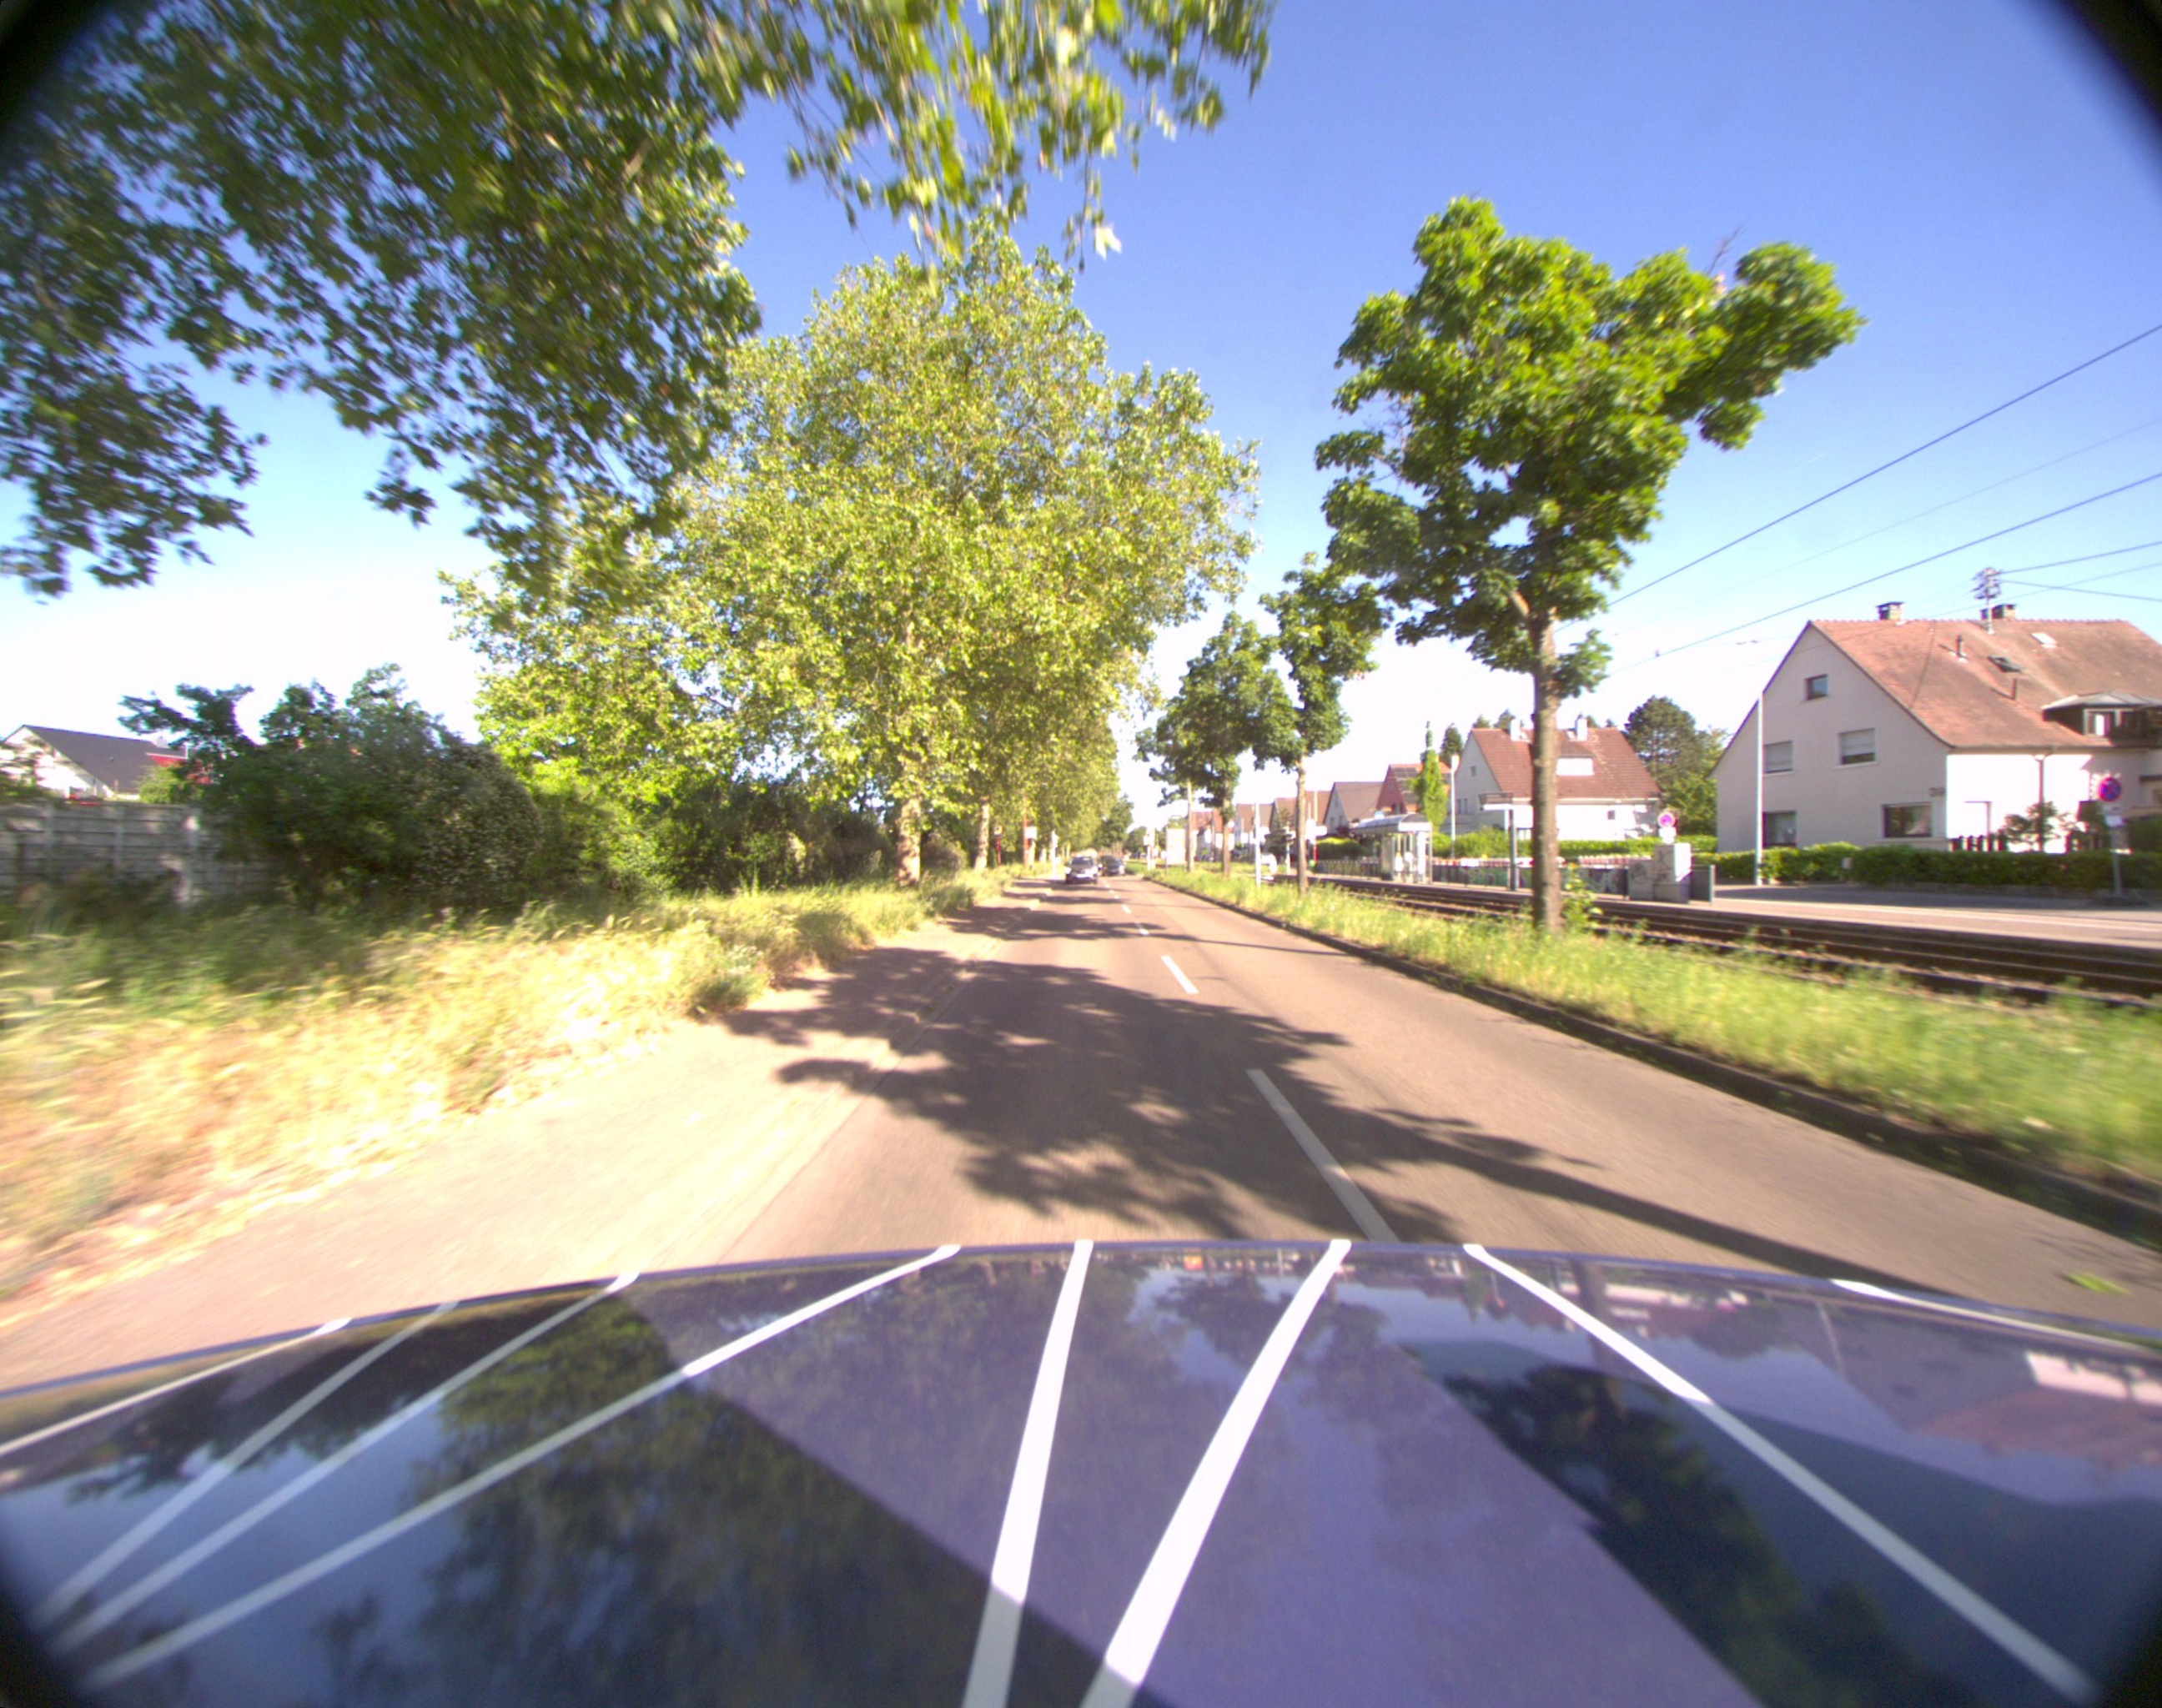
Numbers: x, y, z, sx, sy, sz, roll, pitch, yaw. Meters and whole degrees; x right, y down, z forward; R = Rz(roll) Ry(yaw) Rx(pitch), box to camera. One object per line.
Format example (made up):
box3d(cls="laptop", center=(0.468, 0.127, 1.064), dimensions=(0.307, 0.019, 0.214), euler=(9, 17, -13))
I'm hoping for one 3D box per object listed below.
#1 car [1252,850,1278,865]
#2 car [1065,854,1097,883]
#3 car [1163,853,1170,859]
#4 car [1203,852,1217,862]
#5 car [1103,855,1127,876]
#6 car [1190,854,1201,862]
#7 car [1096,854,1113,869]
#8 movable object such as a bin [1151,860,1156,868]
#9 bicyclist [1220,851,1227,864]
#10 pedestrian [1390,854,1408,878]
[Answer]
box3d(cls="car", center=(22.300, 0.370, 92.453), dimensions=(1.998, 1.668, 4.839), euler=(-2, 0, 1))
box3d(cls="car", center=(0.042, 0.810, 43.315), dimensions=(1.692, 1.499, 3.582), euler=(-2, 1, 1))
box3d(cls="car", center=(22.515, 0.479, 200.205), dimensions=(1.791, 1.497, 4.001), euler=(-2, 1, 4))
box3d(cls="car", center=(22.384, 0.519, 131.587), dimensions=(1.738, 1.481, 3.755), euler=(-2, 1, 1))
box3d(cls="car", center=(2.585, 0.852, 58.629), dimensions=(1.692, 1.499, 3.582), euler=(-2, 1, 1))
box3d(cls="car", center=(22.368, 0.776, 148.508), dimensions=(1.756, 1.373, 3.823), euler=(-2, 0, 1))
box3d(cls="car", center=(2.515, 0.837, 81.974), dimensions=(1.692, 1.499, 3.582), euler=(-2, 1, 1))
box3d(cls="movable object such as a bin", center=(5.836, 0.801, 61.035), dimensions=(0.387, 0.579, 0.379), euler=(-2, 1, 9))
box3d(cls="bicyclist", center=(20.536, 0.478, 109.619), dimensions=(0.854, 1.876, 1.072), euler=(-2, 1, 1))
box3d(cls="pedestrian", center=(20.981, 0.809, 50.119), dimensions=(0.813, 1.525, 0.794), euler=(-1, -1, -1))
